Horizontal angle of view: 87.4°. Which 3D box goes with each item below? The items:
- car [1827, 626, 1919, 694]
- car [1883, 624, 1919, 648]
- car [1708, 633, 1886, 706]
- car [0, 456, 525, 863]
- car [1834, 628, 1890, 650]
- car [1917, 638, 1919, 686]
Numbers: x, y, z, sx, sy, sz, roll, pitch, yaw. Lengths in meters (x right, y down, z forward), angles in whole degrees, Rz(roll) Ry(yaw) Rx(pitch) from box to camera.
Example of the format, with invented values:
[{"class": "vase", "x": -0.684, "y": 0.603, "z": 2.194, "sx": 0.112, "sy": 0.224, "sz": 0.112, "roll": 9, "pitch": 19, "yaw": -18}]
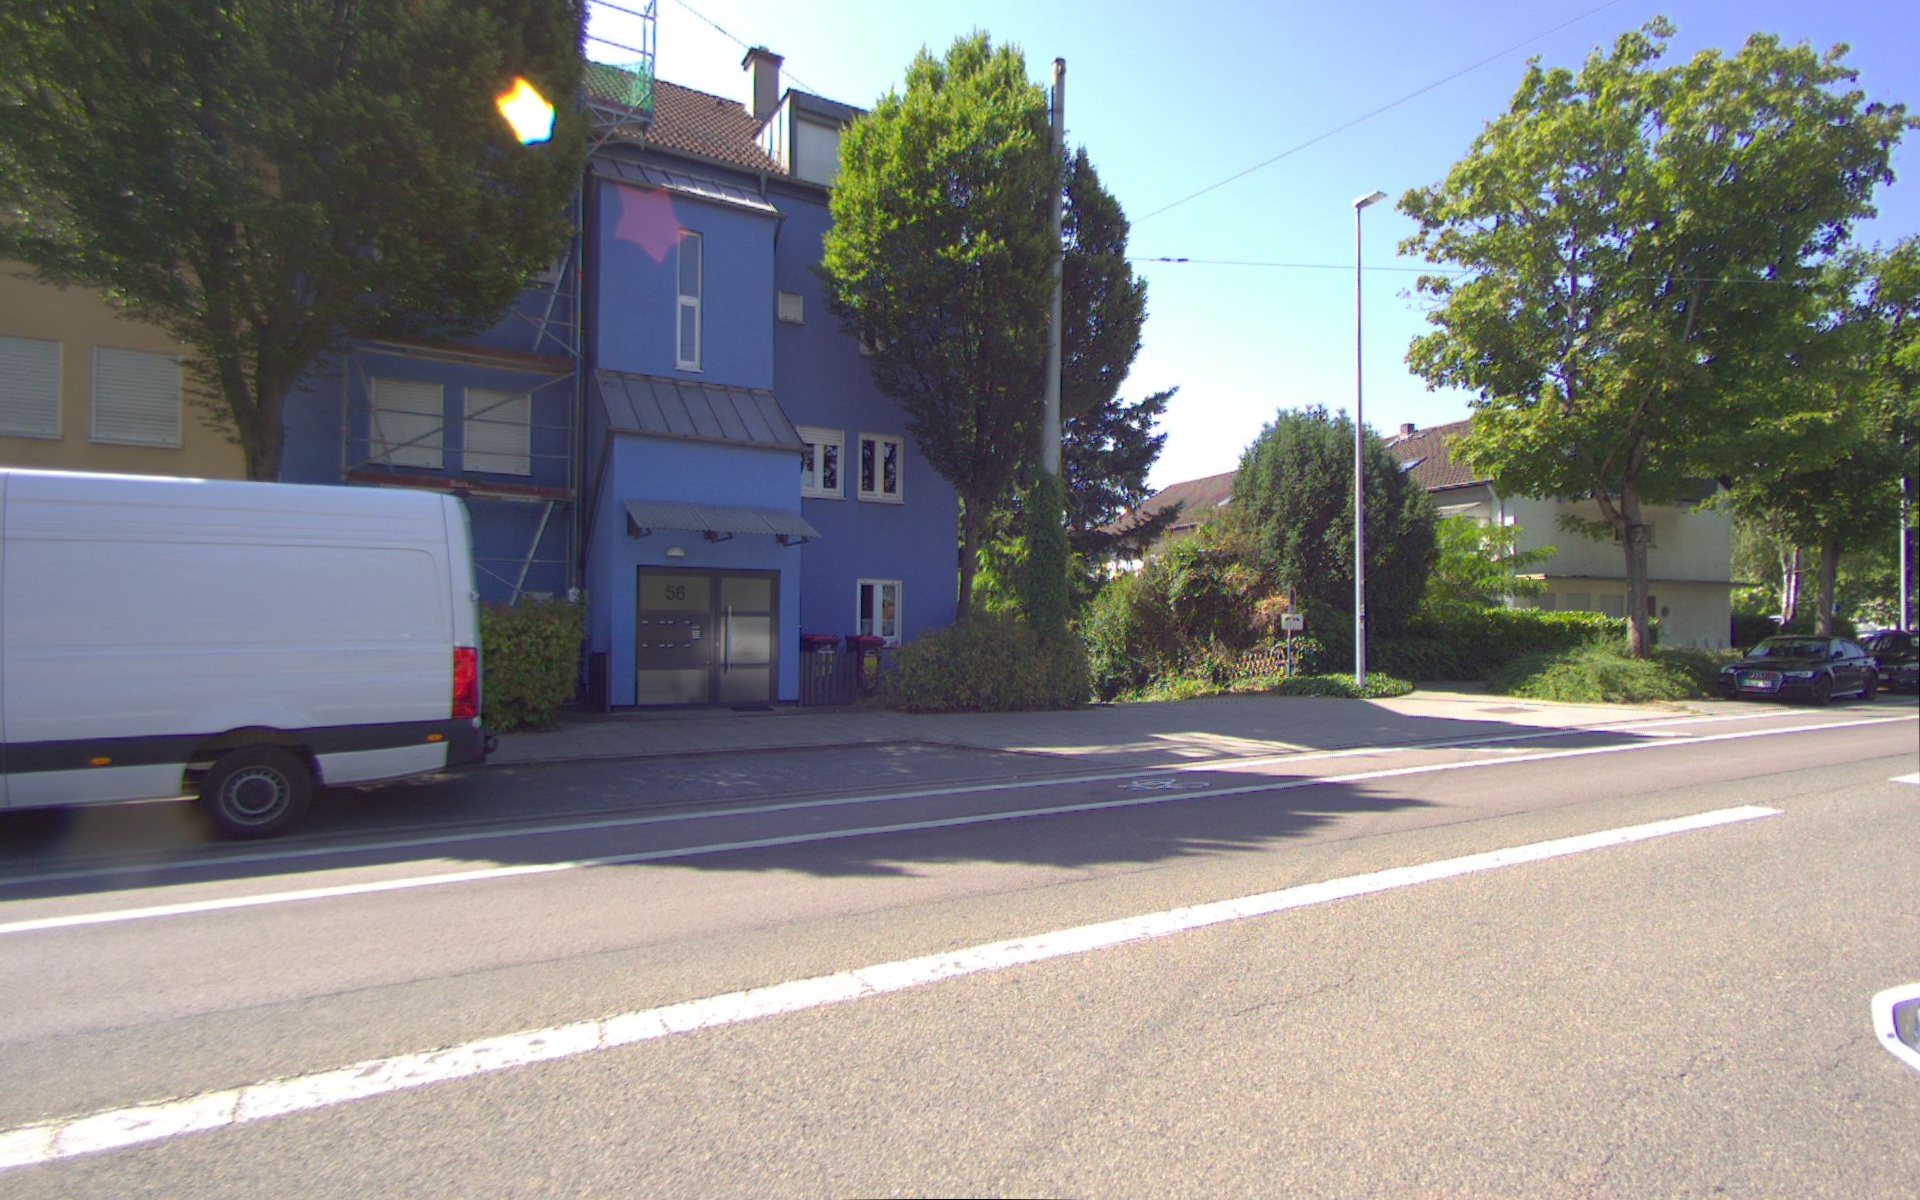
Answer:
[{"class": "car", "x": 24.935, "y": 1.541, "z": 26.434, "sx": 4.837, "sy": 1.627, "sz": 1.753, "roll": 1, "pitch": -1, "yaw": -31}, {"class": "car", "x": 85.789, "y": 3.294, "z": 89.955, "sx": 1.980, "sy": 2.040, "sz": 4.228, "roll": 2, "pitch": 0, "yaw": -35}, {"class": "car", "x": 19.181, "y": 1.520, "z": 22.952, "sx": 4.858, "sy": 1.485, "sz": 1.829, "roll": 2, "pitch": -2, "yaw": -34}, {"class": "car", "x": -7.127, "y": 0.356, "z": 7.410, "sx": 7.001, "sy": 2.713, "sz": 1.984, "roll": 1, "pitch": 2, "yaw": -30}, {"class": "car", "x": 80.367, "y": 3.468, "z": 89.497, "sx": 1.535, "sy": 1.901, "sz": 3.406, "roll": 1, "pitch": -2, "yaw": -31}, {"class": "car", "x": 30.172, "y": 1.824, "z": 29.570, "sx": 4.727, "sy": 1.398, "sz": 1.682, "roll": 1, "pitch": -2, "yaw": -31}]
